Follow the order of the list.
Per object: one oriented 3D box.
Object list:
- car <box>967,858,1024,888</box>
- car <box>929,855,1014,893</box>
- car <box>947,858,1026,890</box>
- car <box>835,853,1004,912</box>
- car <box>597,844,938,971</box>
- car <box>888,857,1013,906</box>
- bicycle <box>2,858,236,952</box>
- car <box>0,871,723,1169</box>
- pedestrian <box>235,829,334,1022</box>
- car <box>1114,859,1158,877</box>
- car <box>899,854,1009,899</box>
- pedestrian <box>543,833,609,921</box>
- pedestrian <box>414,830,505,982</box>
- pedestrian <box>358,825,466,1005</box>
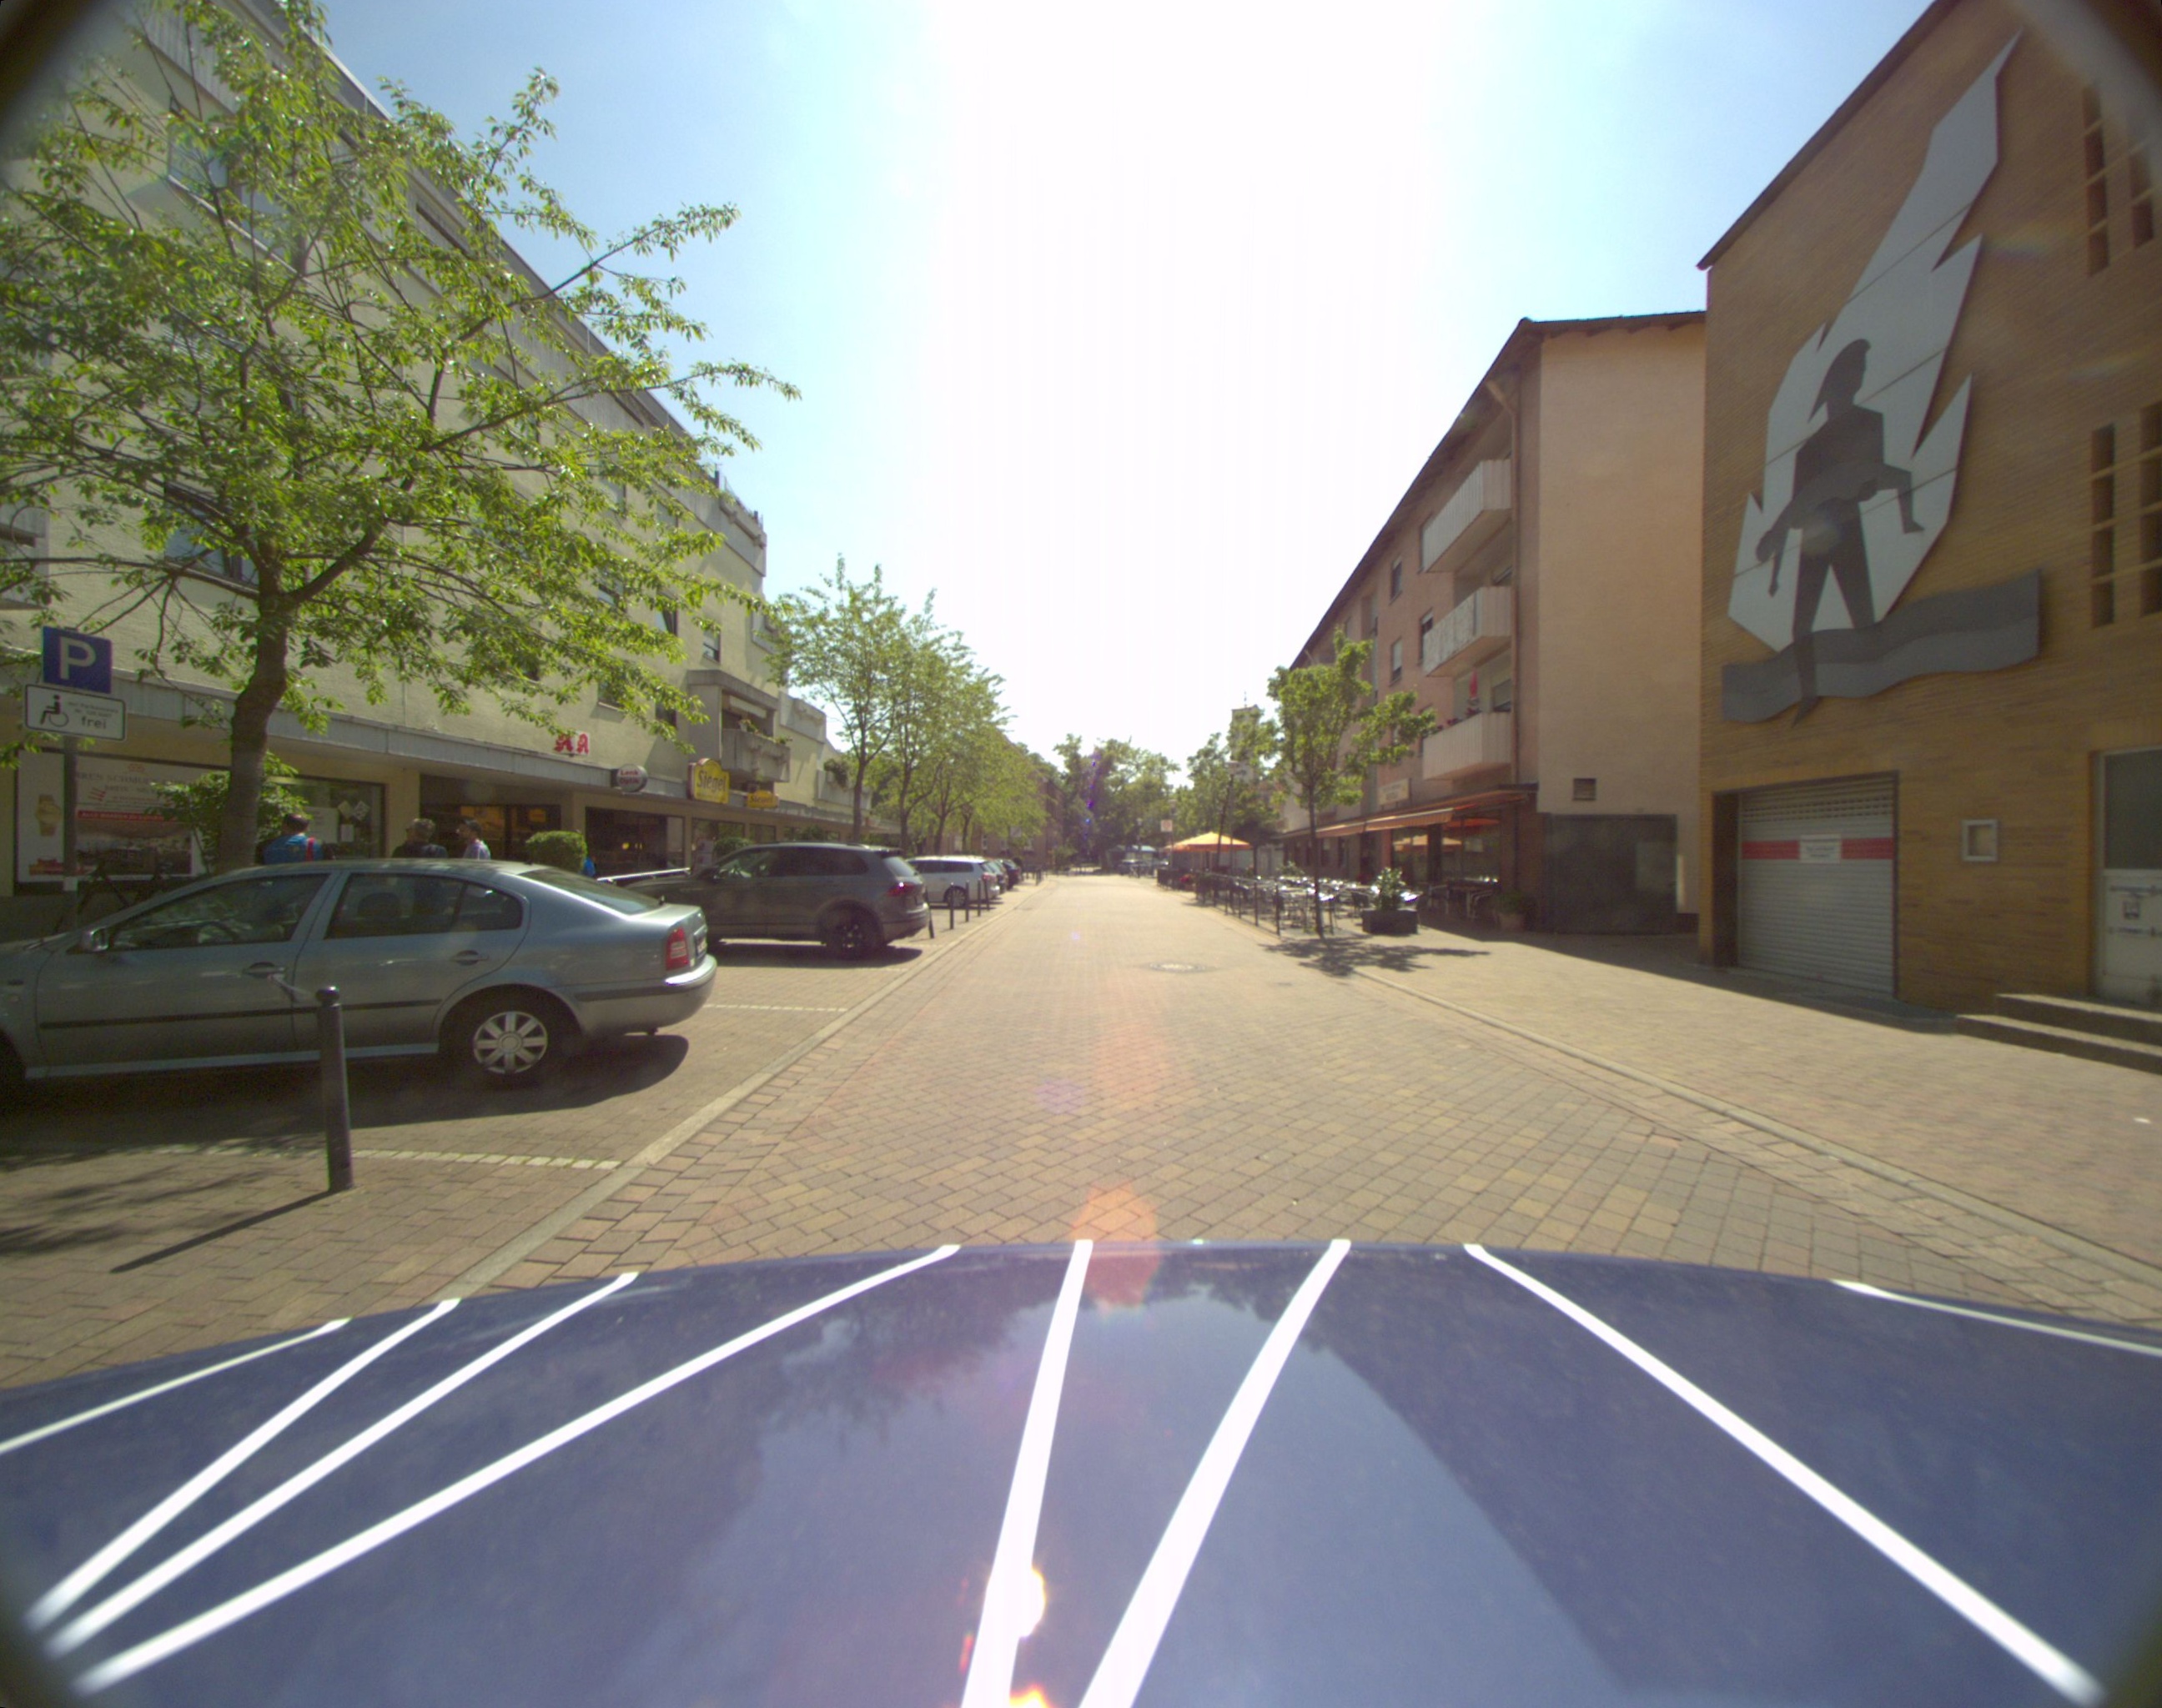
[{"bbox_3d":[-4.241,0.945,37.951,2.703,1.437,1.268,0,0,0],"label":"car"},{"bbox_3d":[-4.681,0.845,32.831,3.401,1.455,1.520,2,0,1],"label":"car"},{"bbox_3d":[-4.351,0.914,35.252,3.401,1.382,1.460,2,0,1],"label":"car"},{"bbox_3d":[-4.718,0.810,22.598,4.586,1.534,1.807,2,0,1],"label":"car"},{"bbox_3d":[-4.411,0.730,11.199,4.255,1.608,1.756,2,0,-1],"label":"car"},{"bbox_3d":[-4.268,0.882,25.145,3.800,1.423,1.614,2,0,1],"label":"car"},{"bbox_3d":[-12.392,0.610,9.903,0.643,1.075,1.866,-1,1,0],"label":"bicycle"},{"bbox_3d":[-4.922,0.885,5.088,4.391,1.455,1.887,1,1,-20],"label":"car"},{"bbox_3d":[-7.754,0.652,7.402,0.685,1.763,0.633,0,1,43],"label":"pedestrian"},{"bbox_3d":[5.142,1.351,70.467,1.899,1.546,5.043,2,0,31],"label":"car"},{"bbox_3d":[-4.569,0.796,27.706,3.652,1.508,1.633,2,0,1],"label":"car"},{"bbox_3d":[-10.421,0.456,15.702,0.759,1.770,0.870,1,1,8],"label":"pedestrian"},{"bbox_3d":[-7.381,0.590,9.029,0.614,1.721,0.649,0,1,35],"label":"pedestrian"},{"bbox_3d":[-6.966,0.605,7.923,0.626,1.785,0.607,0,1,20],"label":"pedestrian"}]
